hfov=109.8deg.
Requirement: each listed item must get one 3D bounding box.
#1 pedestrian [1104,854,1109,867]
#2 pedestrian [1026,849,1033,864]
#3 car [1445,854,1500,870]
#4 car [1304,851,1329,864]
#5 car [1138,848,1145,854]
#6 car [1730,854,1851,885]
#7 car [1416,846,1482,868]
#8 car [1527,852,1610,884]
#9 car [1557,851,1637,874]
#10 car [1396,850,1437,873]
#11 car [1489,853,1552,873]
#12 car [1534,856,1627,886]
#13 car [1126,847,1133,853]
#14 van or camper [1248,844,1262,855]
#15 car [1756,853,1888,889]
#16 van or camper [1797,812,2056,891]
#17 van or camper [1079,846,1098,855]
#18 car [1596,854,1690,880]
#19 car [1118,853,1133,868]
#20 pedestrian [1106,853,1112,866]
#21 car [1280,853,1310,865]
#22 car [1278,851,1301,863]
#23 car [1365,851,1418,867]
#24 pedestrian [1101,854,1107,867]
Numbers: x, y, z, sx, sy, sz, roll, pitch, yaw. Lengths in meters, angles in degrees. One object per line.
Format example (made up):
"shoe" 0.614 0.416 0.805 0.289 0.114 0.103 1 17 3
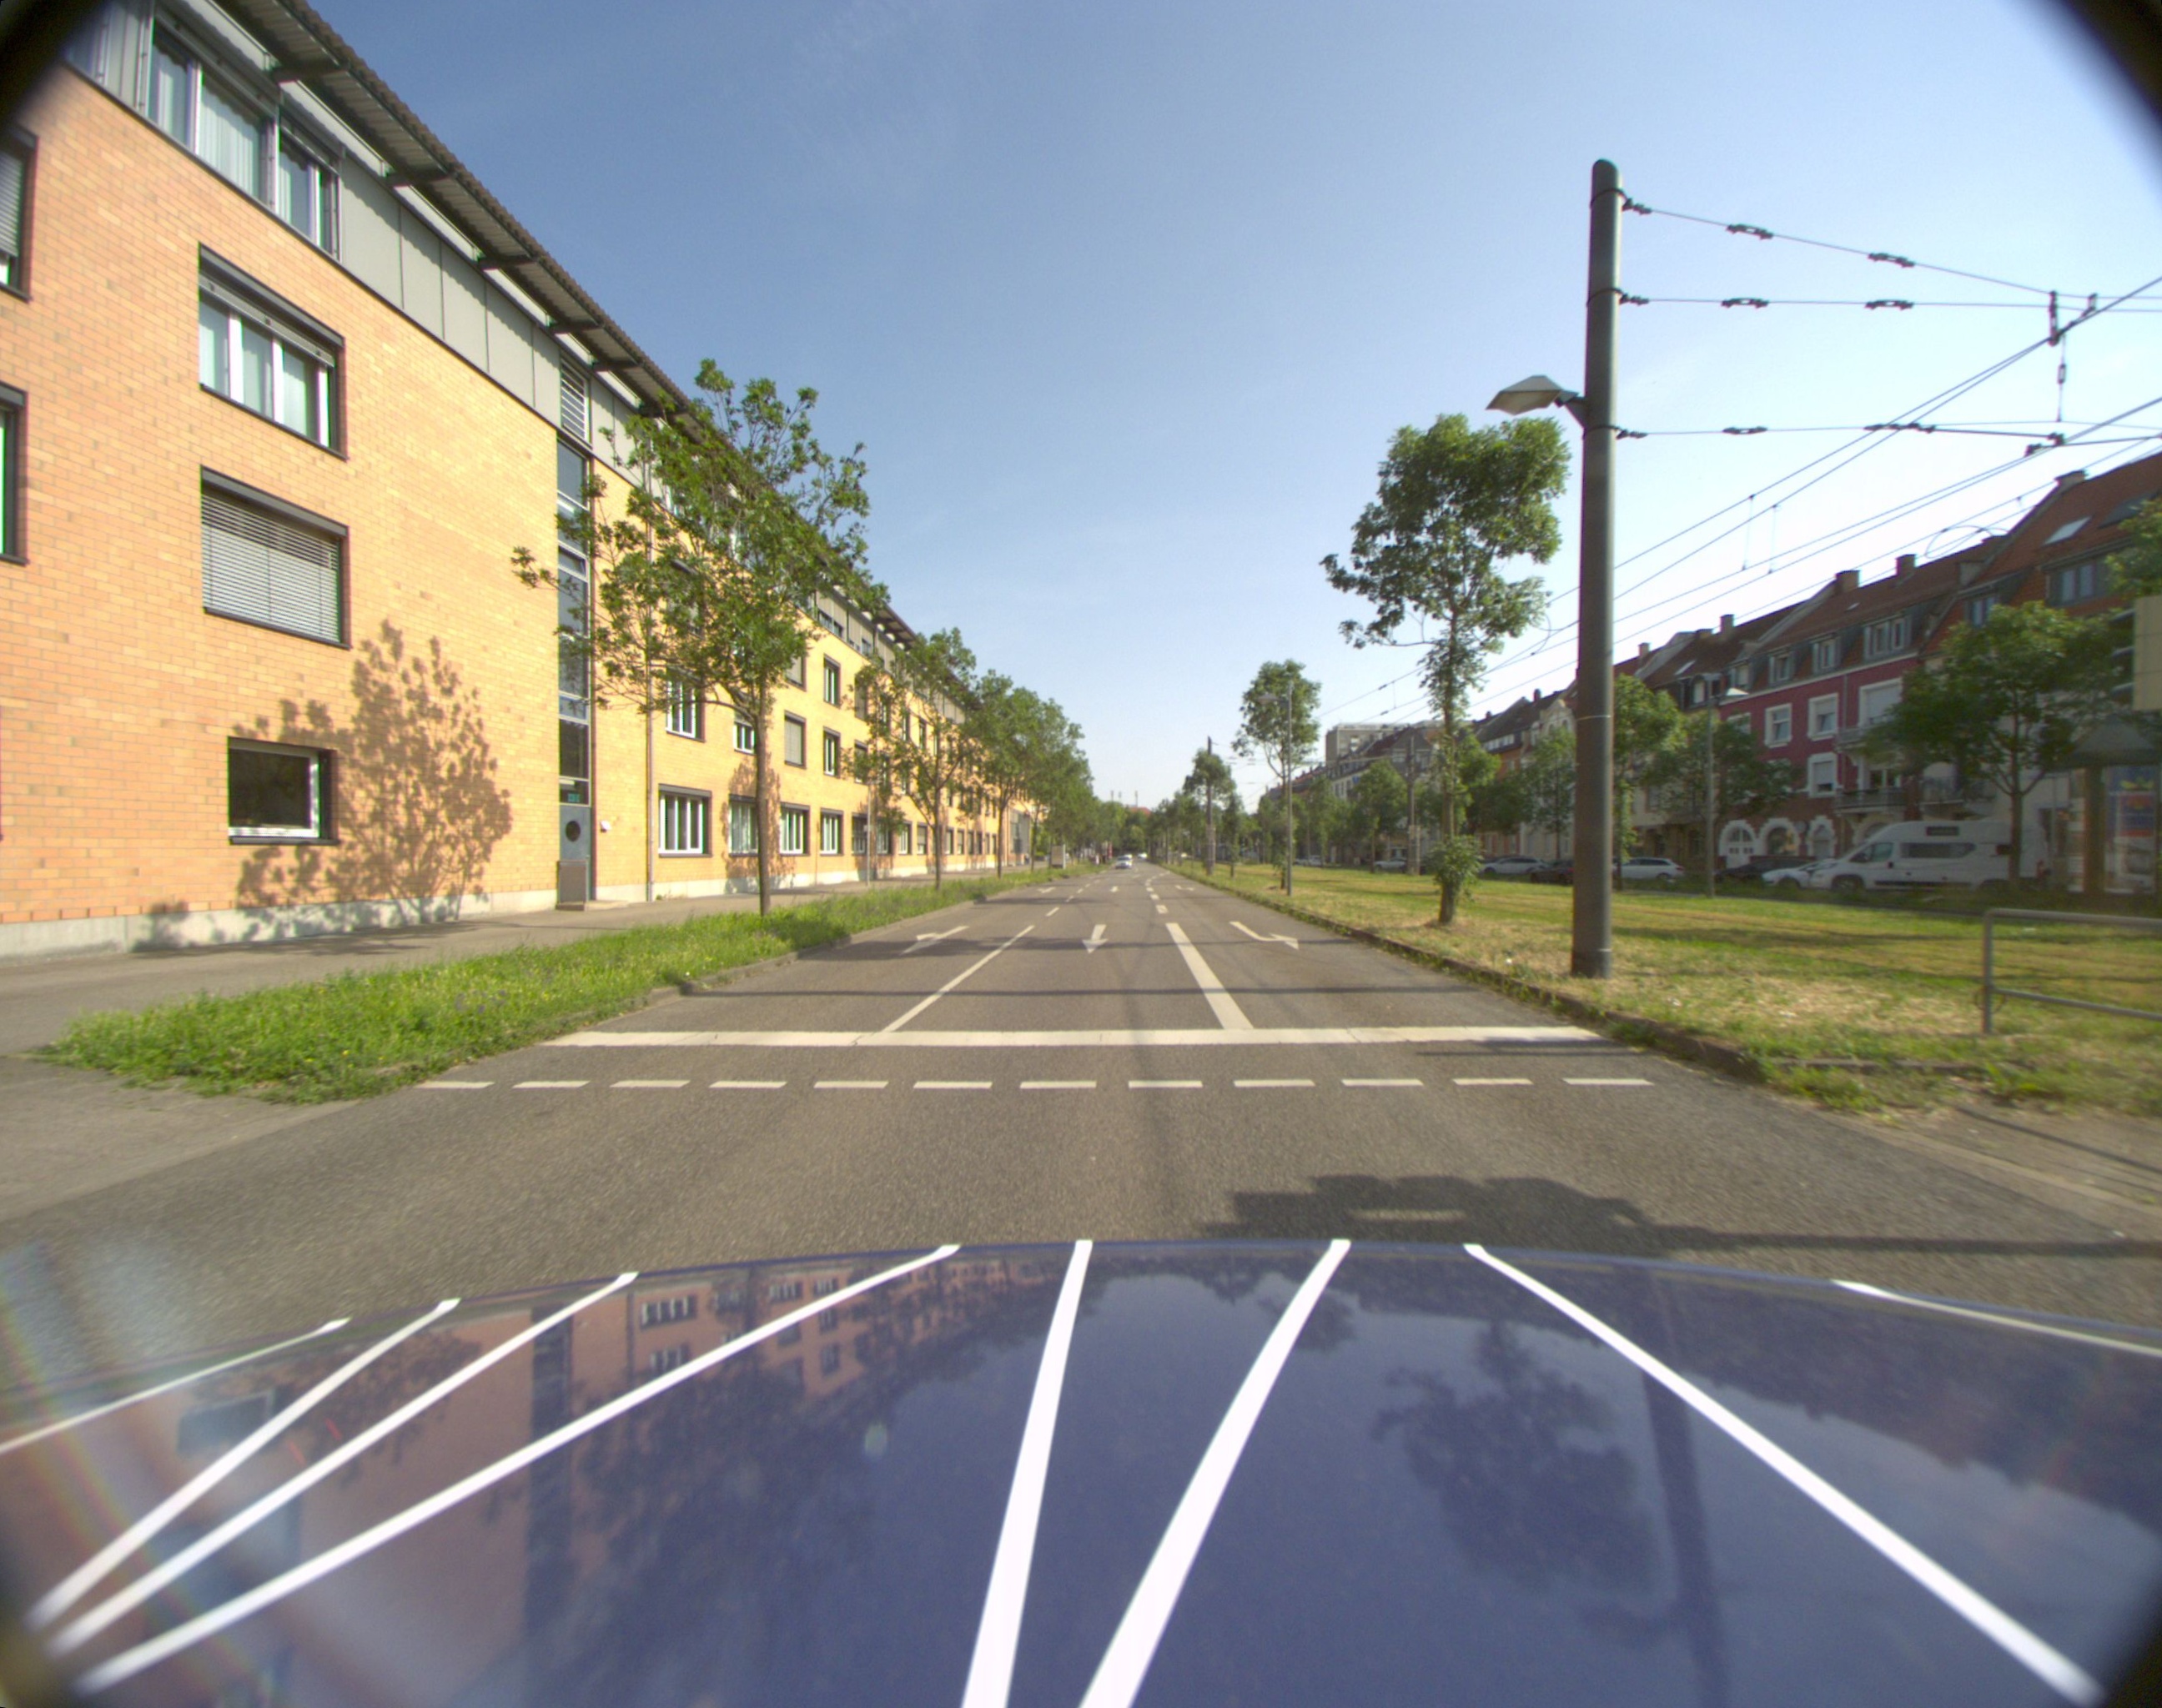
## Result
"pedestrian" 3.308 0.842 99.614 0.636 1.637 0.609 2 1 0
"pedestrian" -6.030 0.285 89.031 0.697 1.647 0.773 1 1 4
"car" 31.276 0.634 60.742 3.676 1.234 1.529 -2 -2 38
"car" 28.231 0.407 91.079 1.951 1.451 4.650 -2 1 6
"car" 16.524 -0.789 206.541 1.692 1.476 3.366 -2 1 2
"car" 30.893 0.694 33.230 3.677 1.234 1.665 -2 1 35
"car" 32.385 0.282 66.888 4.938 1.716 1.860 -2 1 38
"car" 24.492 0.673 38.366 1.816 1.425 3.926 -2 1 3
"car" 29.849 0.496 43.988 3.676 1.234 1.665 -2 1 38
"car" 25.983 0.586 58.970 1.768 1.646 4.001 -2 1 6
"car" 31.054 0.636 53.726 3.676 1.234 1.665 -2 1 38
"car" 30.835 1.058 47.041 4.636 1.733 1.837 -2 1 28
"car" 12.226 -1.047 191.929 1.692 1.476 3.366 -2 1 2
"van or camper" 35.607 -0.892 155.767 1.956 2.085 5.353 -2 1 3
"car" 30.041 0.695 30.948 3.676 1.324 1.665 -2 1 38
"van or camper" 29.961 -0.042 27.331 5.909 2.558 2.203 -2 1 38
"van or camper" 2.281 -1.088 228.195 5.799 2.678 2.408 -2 1 0
"car" 30.131 0.711 40.797 4.003 1.309 1.665 -2 1 38
"car" 4.924 0.723 84.237 1.628 1.476 3.367 -2 1 3
"pedestrian" 3.601 0.722 98.311 0.707 1.637 0.689 2 1 2
"car" 33.336 0.796 118.220 3.989 1.716 2.004 -2 1 38
"car" 29.536 0.390 107.844 1.998 1.620 5.380 -2 1 3
"car" 32.743 0.532 80.119 4.765 1.477 2.027 -2 1 36
"pedestrian" 3.077 0.854 101.162 0.707 1.637 0.689 2 1 2
